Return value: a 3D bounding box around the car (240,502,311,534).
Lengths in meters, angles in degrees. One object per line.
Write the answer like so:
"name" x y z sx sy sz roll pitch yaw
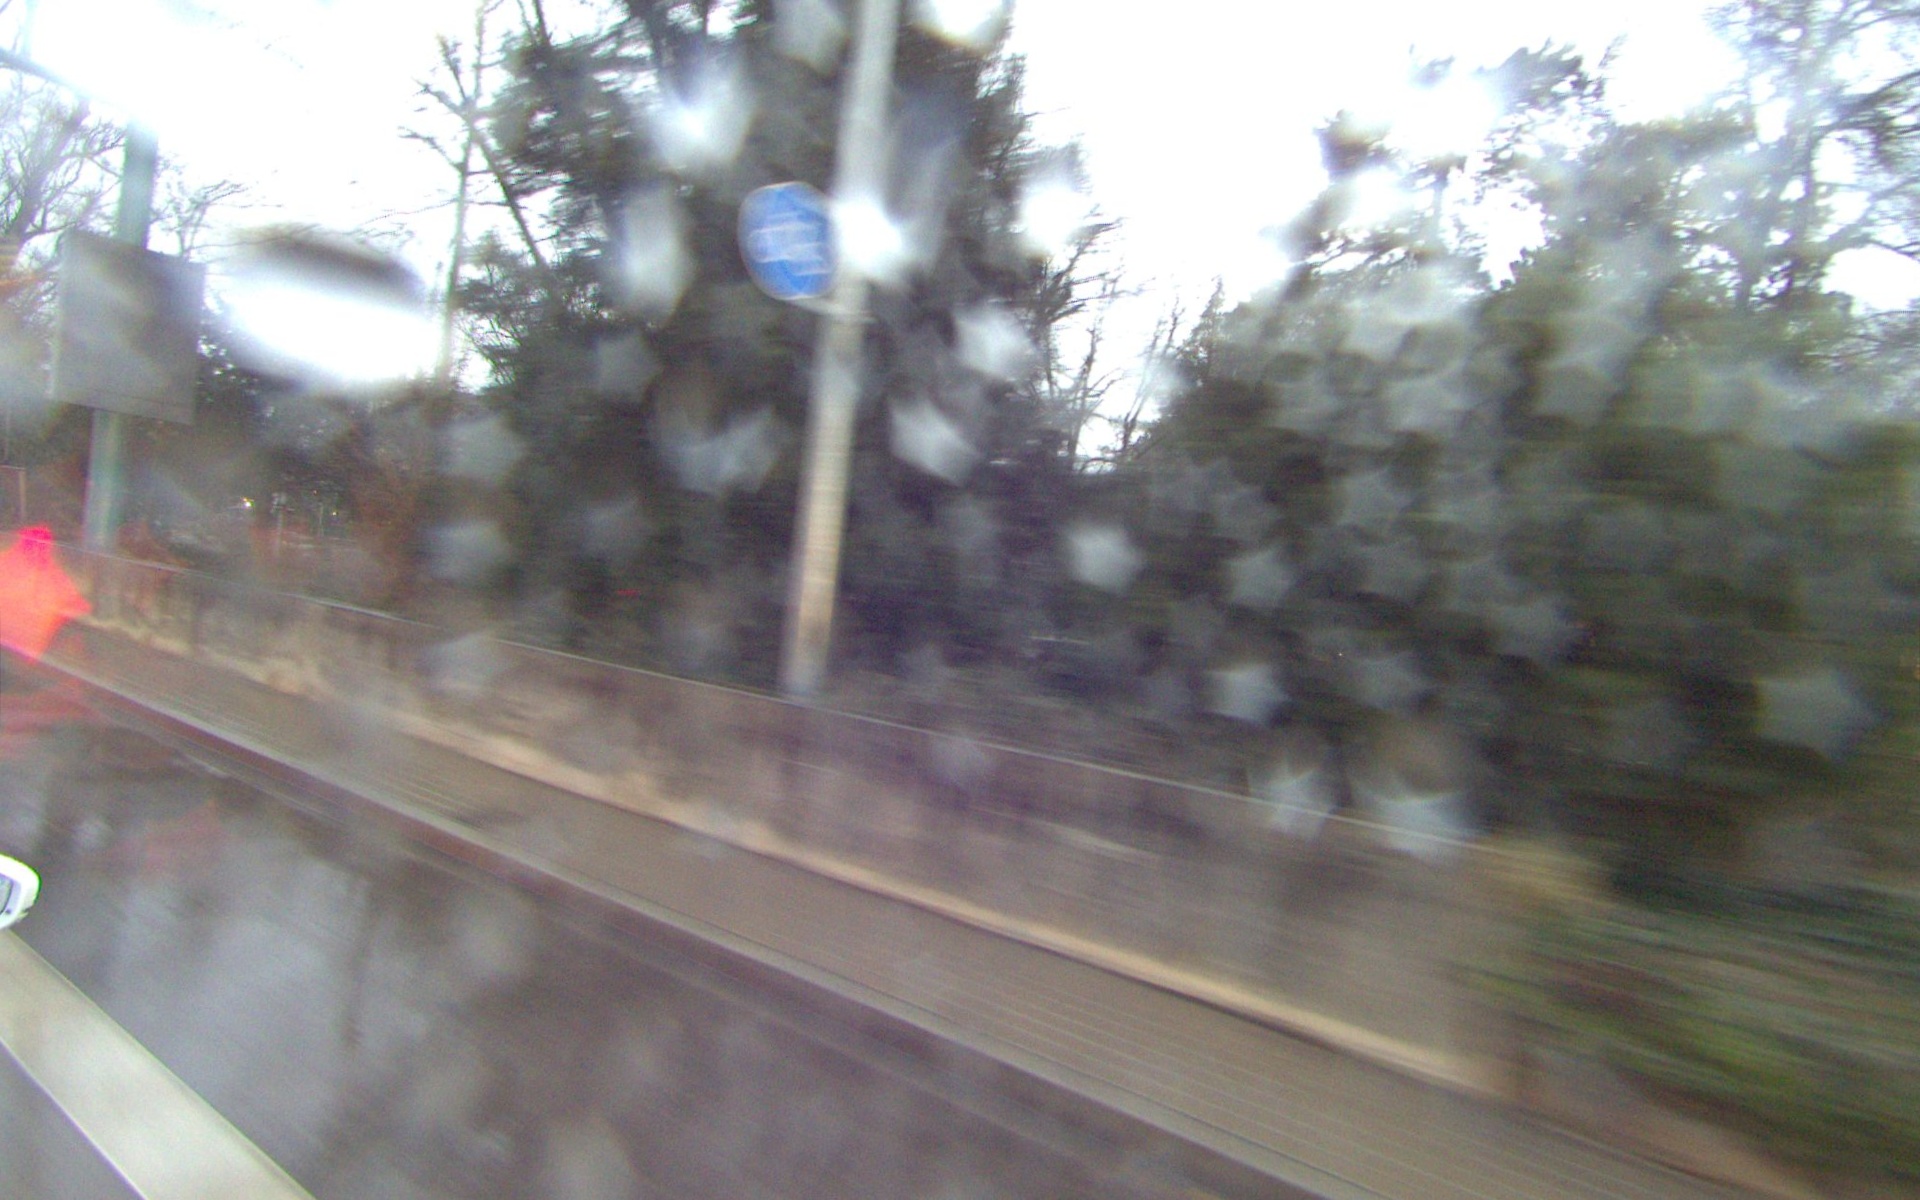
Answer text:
"car" -52.210 -6.243 76.791 3.929 1.681 1.818 8 -1 -4
